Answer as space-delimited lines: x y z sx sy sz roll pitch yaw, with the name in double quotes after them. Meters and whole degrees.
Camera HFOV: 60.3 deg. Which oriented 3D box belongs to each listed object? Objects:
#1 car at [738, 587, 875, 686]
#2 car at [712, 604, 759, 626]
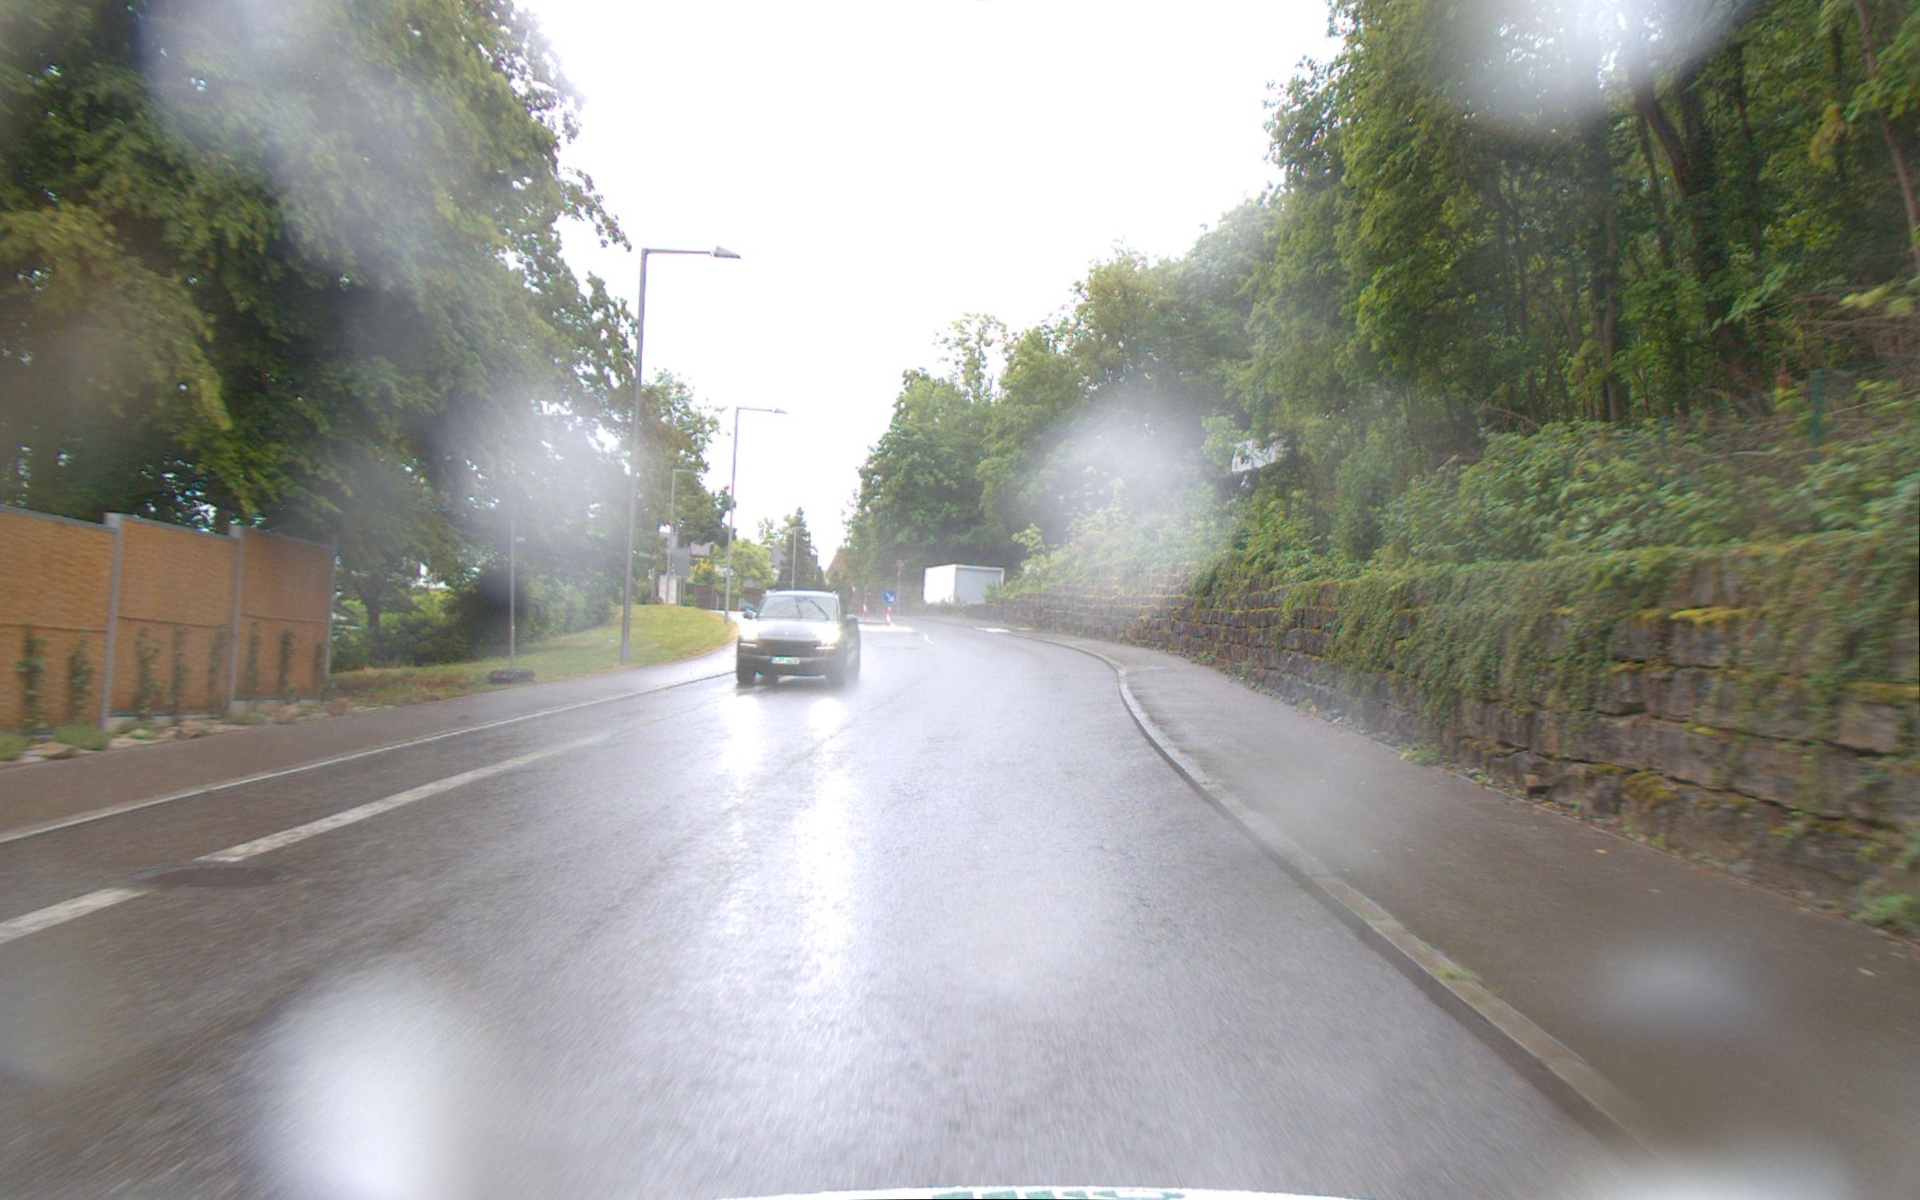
-2.793 0.657 31.113 1.878 1.676 4.548 1 0 3 "car"
-20.186 1.344 148.773 3.929 1.660 2.002 4 -2 41 "car"
